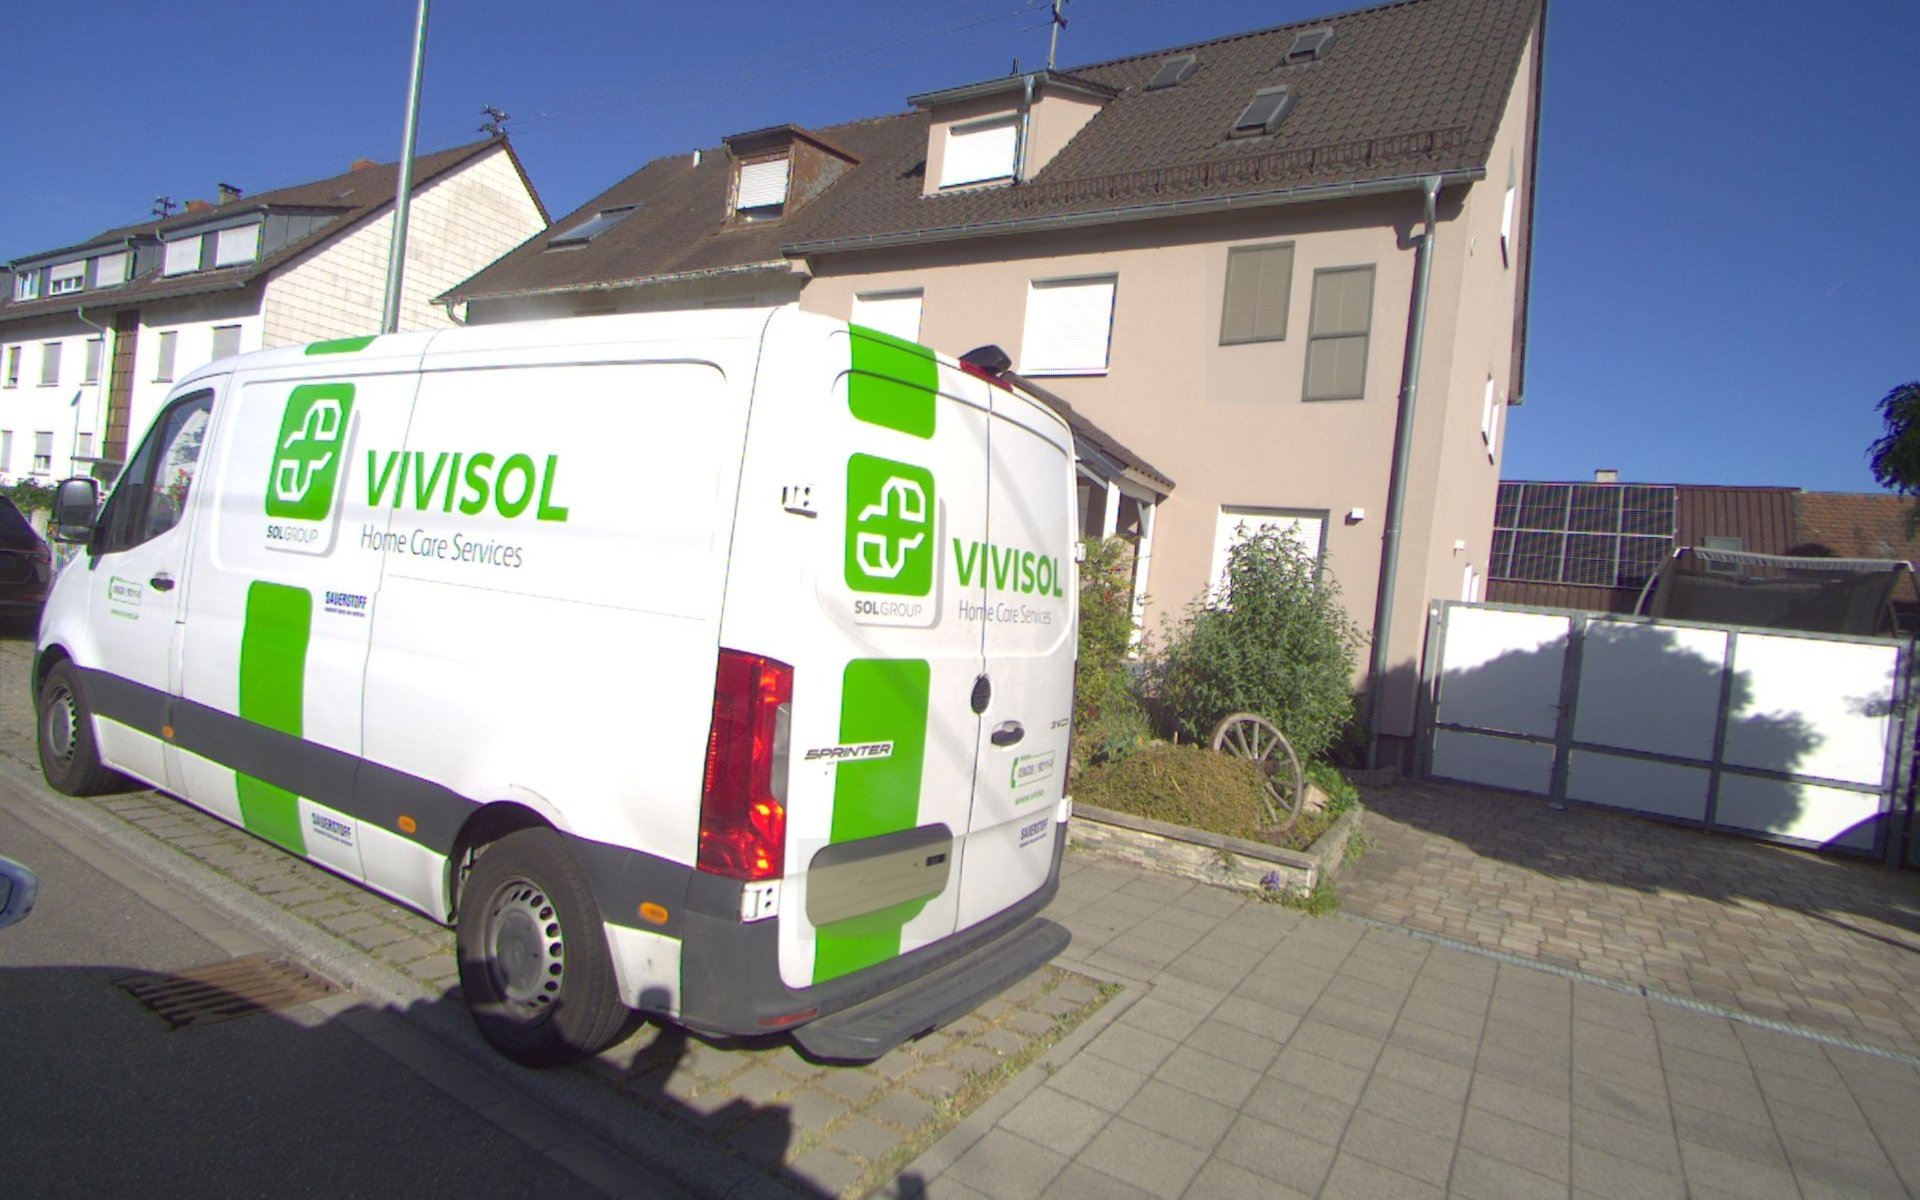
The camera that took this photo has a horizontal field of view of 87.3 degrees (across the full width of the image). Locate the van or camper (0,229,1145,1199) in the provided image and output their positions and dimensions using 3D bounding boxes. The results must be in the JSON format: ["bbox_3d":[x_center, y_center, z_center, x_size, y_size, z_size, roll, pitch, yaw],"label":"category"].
[{"bbox_3d":[-2.491,0.053,4.867,6.201,2.300,1.994,6,1,32],"label":"van or camper"}]

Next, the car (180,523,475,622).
[{"bbox_3d":[-12.741,-0.492,20.619,1.875,1.495,4.718,6,-1,30],"label":"car"}]

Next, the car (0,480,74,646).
[{"bbox_3d":[-11.105,-0.581,10.222,5.070,1.513,1.749,6,1,32],"label":"car"}]
